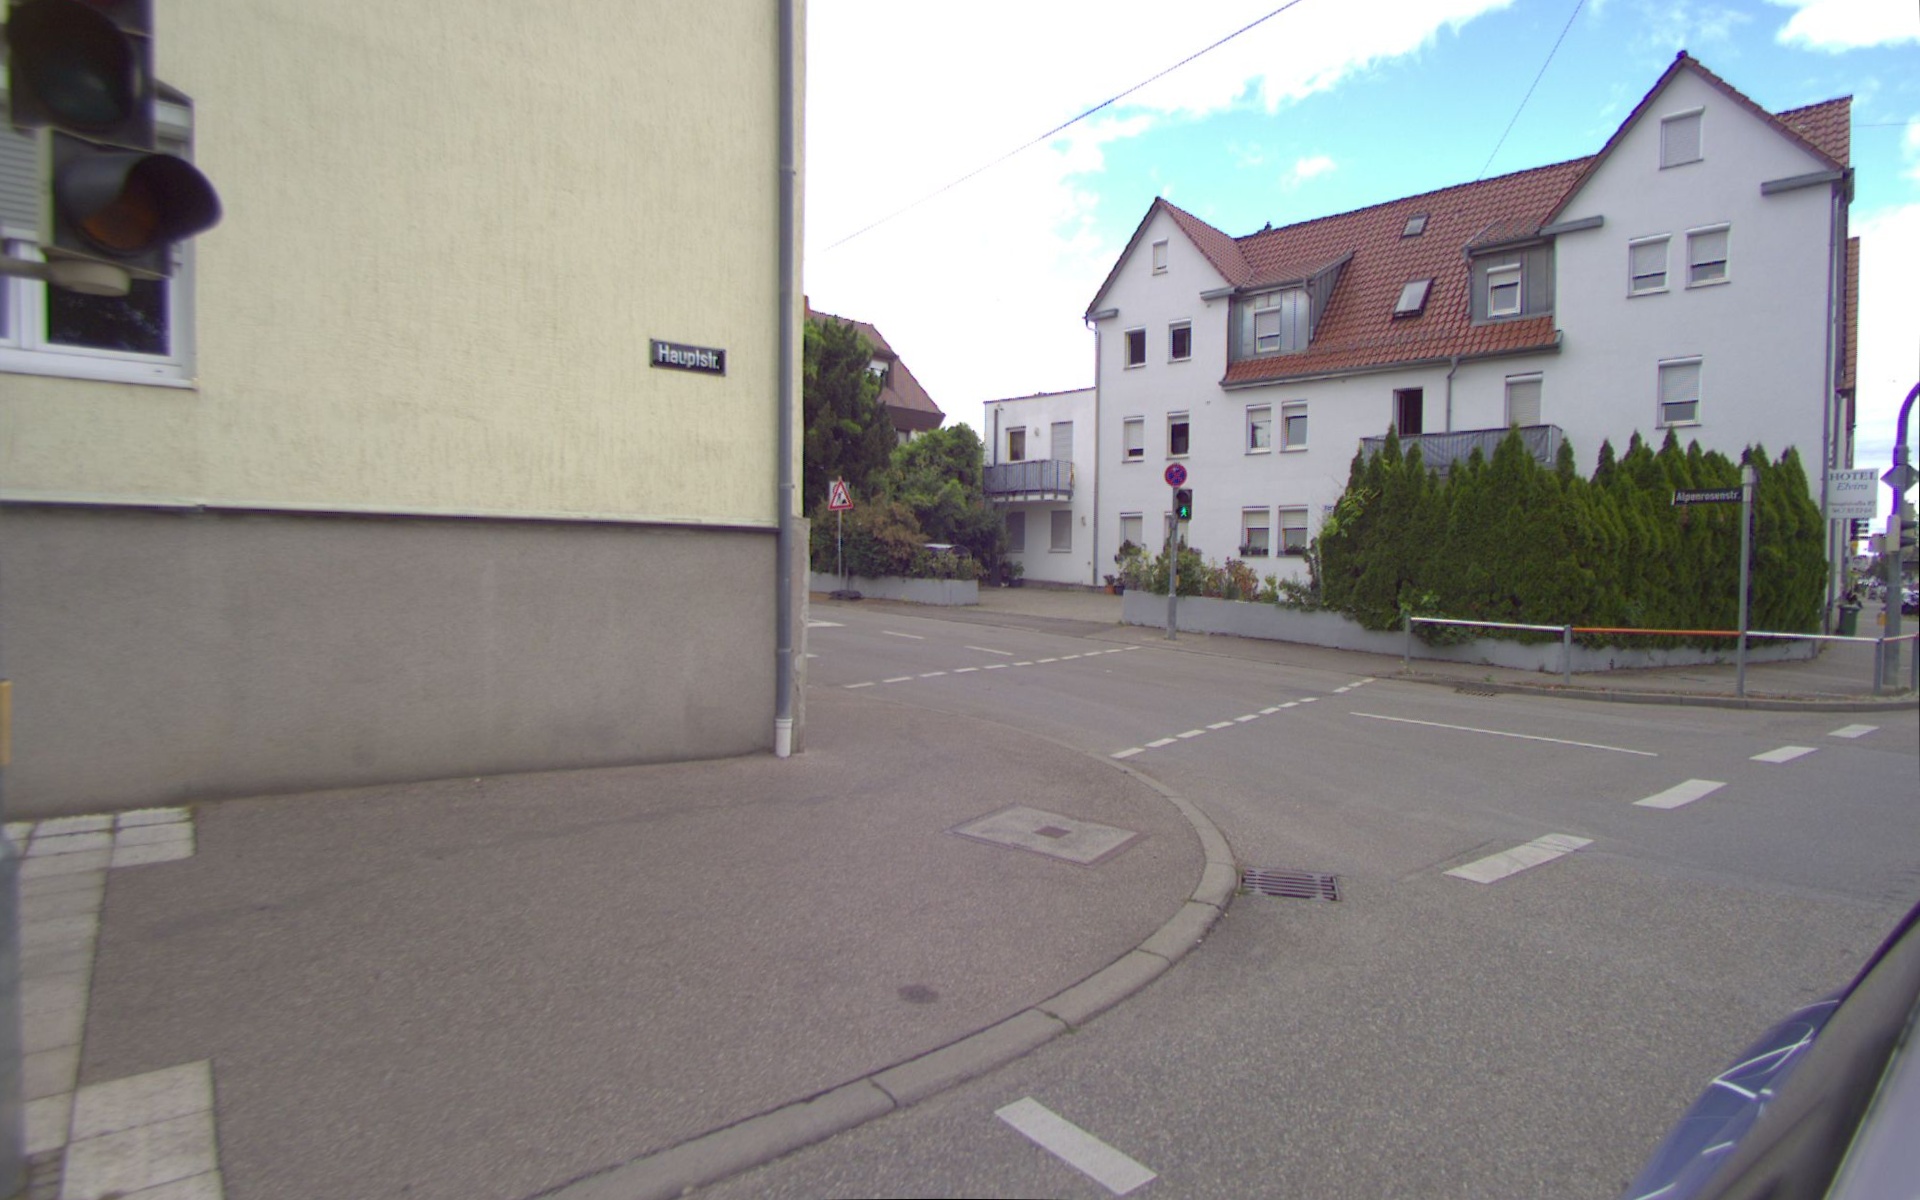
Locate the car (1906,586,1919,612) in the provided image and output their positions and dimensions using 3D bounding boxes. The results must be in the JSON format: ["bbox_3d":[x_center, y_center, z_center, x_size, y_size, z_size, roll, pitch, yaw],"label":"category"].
[{"bbox_3d":[60.676,-0.086,63.442,1.840,1.538,3.941,1,2,41],"label":"car"}]

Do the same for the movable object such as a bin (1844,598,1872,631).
[{"bbox_3d":[27.004,0.432,30.437,0.564,0.914,0.511,4,4,44],"label":"movable object such as a bin"}]

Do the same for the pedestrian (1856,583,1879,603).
[{"bbox_3d":[61.114,-0.451,68.180,0.653,1.295,0.984,0,2,-34],"label":"pedestrian"}]

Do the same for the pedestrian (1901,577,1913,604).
[{"bbox_3d":[62.861,-0.622,67.161,0.496,1.775,0.444,3,2,44],"label":"pedestrian"}]
